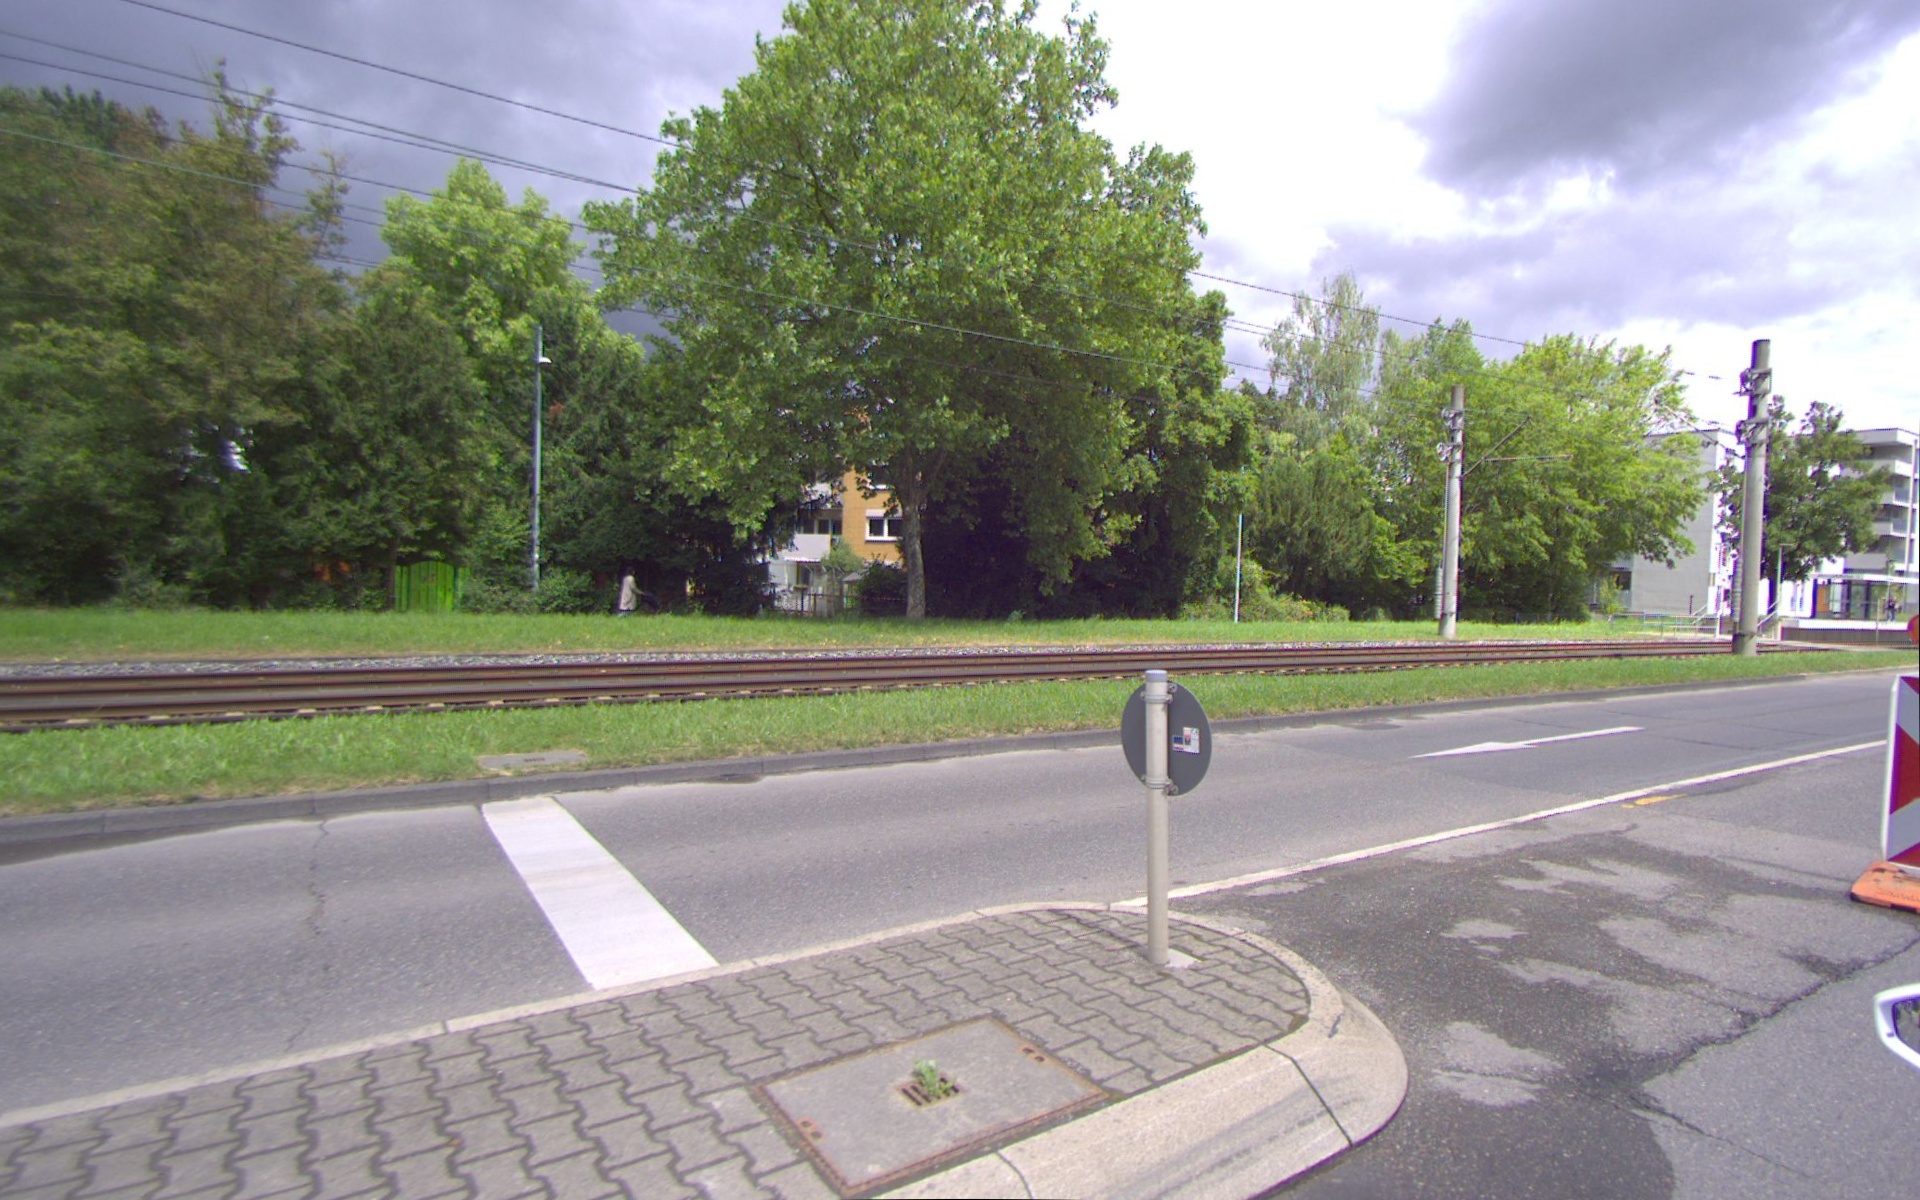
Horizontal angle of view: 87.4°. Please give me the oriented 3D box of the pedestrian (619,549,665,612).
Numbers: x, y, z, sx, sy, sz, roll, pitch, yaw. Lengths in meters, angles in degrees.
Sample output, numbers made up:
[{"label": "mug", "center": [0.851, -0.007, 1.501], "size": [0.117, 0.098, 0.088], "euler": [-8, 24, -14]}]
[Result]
[{"label": "pedestrian", "center": [-10.155, -0.624, 32.027], "size": [1.342, 1.960, 1.033], "euler": [1, 2, -19]}]

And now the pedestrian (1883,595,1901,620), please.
[{"label": "pedestrian", "center": [59.452, 0.455, 64.052], "size": [0.542, 1.551, 0.735], "euler": [1, 2, -40]}]
